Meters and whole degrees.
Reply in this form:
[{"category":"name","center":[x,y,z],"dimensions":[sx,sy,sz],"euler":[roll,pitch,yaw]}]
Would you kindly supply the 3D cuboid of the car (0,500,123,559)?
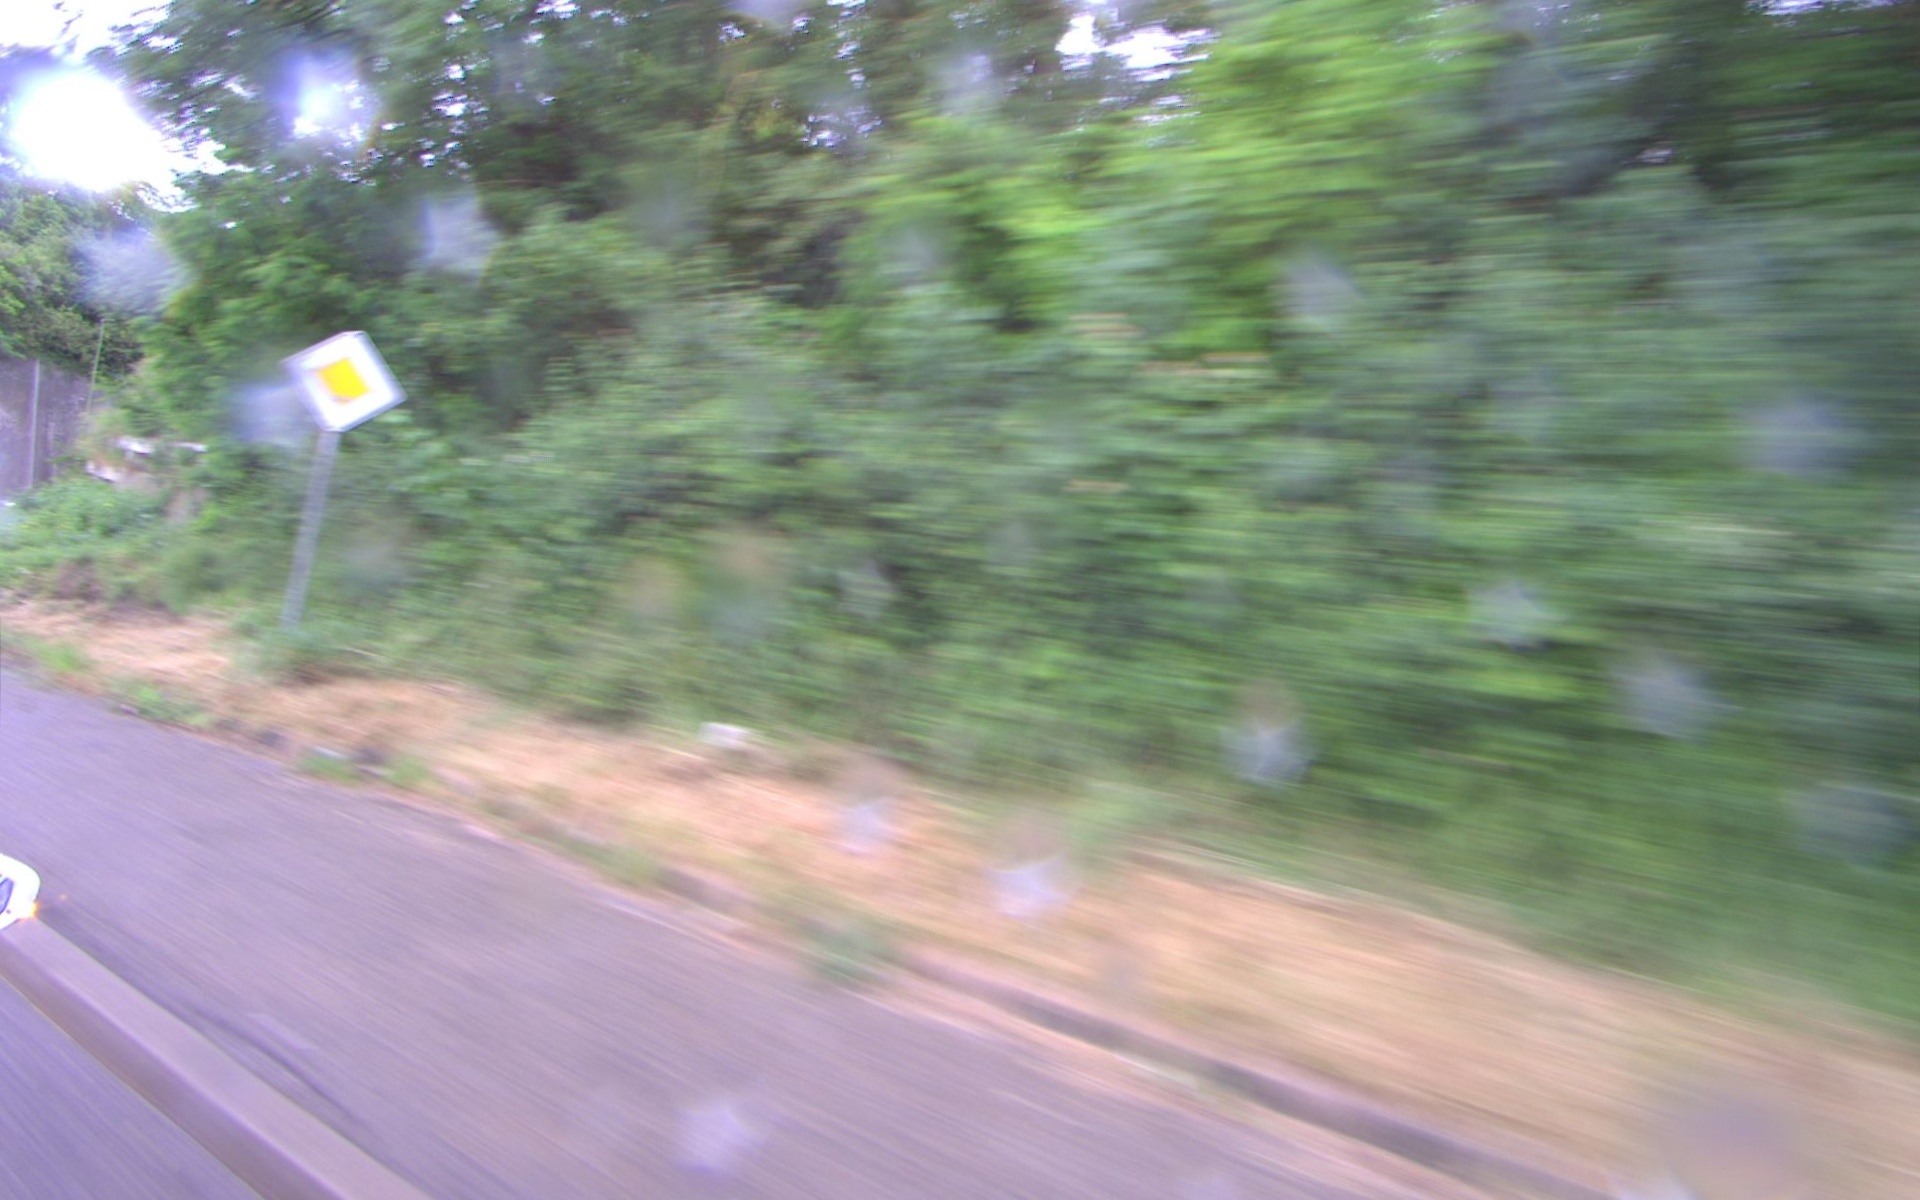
[{"category":"car","center":[-33.825,-2.619,37.472],"dimensions":[1.464,1.681,3.711],"euler":[6,-2,25]}]
